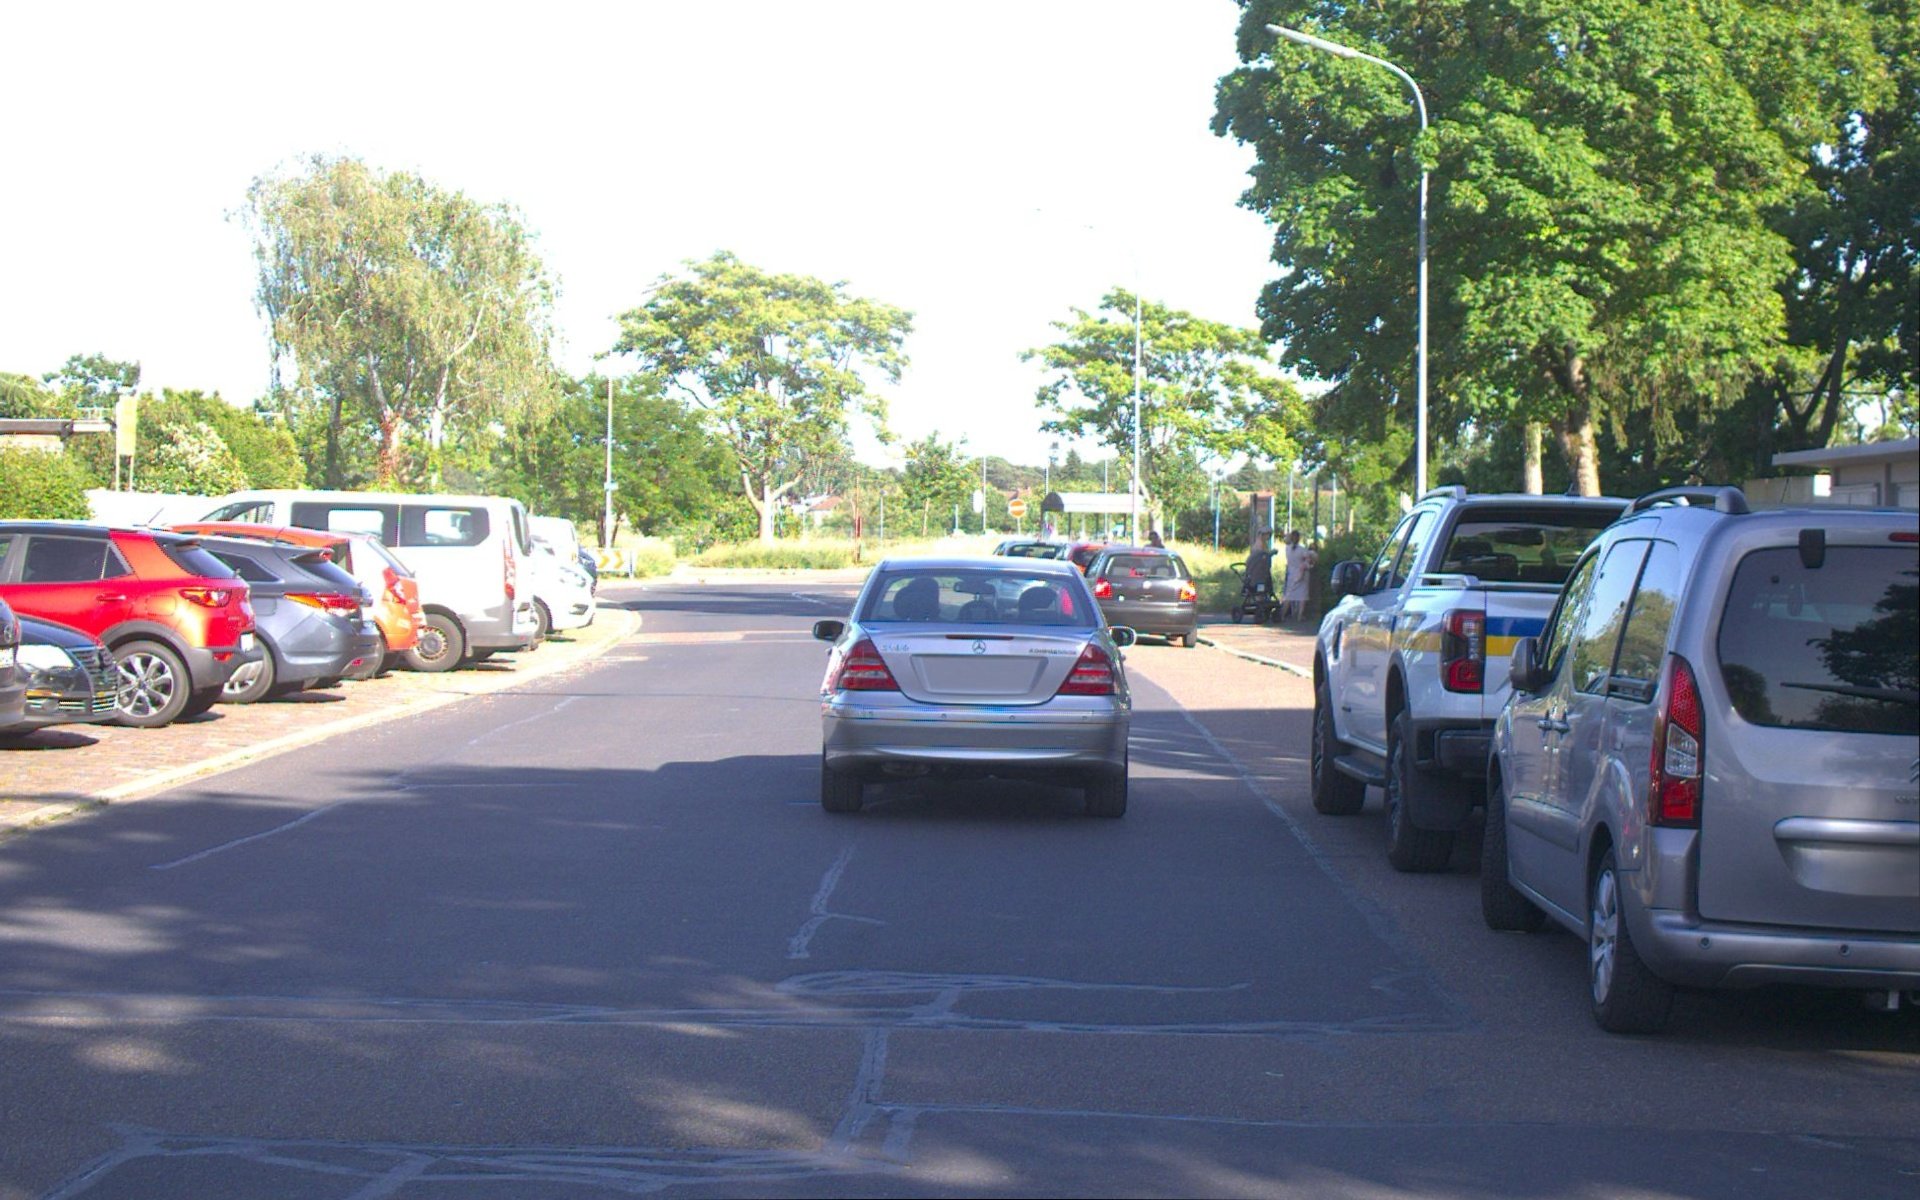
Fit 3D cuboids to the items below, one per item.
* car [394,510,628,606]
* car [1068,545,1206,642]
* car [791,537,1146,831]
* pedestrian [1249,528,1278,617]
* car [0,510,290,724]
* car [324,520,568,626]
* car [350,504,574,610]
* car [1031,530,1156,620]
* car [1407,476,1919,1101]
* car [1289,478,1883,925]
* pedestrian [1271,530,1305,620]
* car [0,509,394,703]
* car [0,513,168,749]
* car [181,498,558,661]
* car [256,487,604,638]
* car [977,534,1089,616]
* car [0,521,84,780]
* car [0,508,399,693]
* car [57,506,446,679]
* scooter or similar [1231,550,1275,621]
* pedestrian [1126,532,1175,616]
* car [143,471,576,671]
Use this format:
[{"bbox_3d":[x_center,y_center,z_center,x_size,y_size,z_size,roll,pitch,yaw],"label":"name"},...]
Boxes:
[{"bbox_3d":[-9.647,-0.898,73.784,4.870,1.909,2.001,1,0,-9],"label":"car"},{"bbox_3d":[2.623,-0.108,51.624,1.647,1.398,3.882,0,0,-3],"label":"car"},{"bbox_3d":[0.091,0.402,20.213,1.816,1.458,4.361,2,1,1],"label":"car"},{"bbox_3d":[5.379,-0.479,60.852,0.481,1.559,0.597,-1,0,6],"label":"pedestrian"},{"bbox_3d":[-7.349,0.058,26.428,3.987,1.474,1.791,3,1,0],"label":"car"},{"bbox_3d":[-7.976,-0.412,53.522,3.513,1.441,1.637,3,0,-2],"label":"car"},{"bbox_3d":[-9.140,-0.799,63.255,3.976,1.774,1.926,2,1,-7],"label":"car"},{"bbox_3d":[2.268,-0.436,59.254,1.575,1.441,3.789,2,0,-6],"label":"car"},{"bbox_3d":[2.892,0.504,12.308,1.833,1.785,4.555,3,2,-1],"label":"car"},{"bbox_3d":[2.955,0.365,17.488,1.906,1.834,5.275,3,2,-1],"label":"car"},{"bbox_3d":[5.705,-0.429,59.771,0.485,1.559,0.469,0,0,-8],"label":"pedestrian"},{"bbox_3d":[-7.441,-0.001,30.308,4.544,1.474,1.748,3,1,0],"label":"car"},{"bbox_3d":[-7.637,0.109,23.364,4.018,1.507,1.906,3,0,-1],"label":"car"},{"bbox_3d":[-7.074,-0.247,41.500,4.151,1.700,1.884,3,0,0],"label":"car"},{"bbox_3d":[-7.735,-0.548,50.551,4.788,1.914,2.082,3,0,-3],"label":"car"},{"bbox_3d":[1.432,-0.511,69.101,1.731,1.537,3.789,2,0,-6],"label":"car"},{"bbox_3d":[-7.622,0.183,20.872,4.092,1.507,1.812,3,0,-1],"label":"car"},{"bbox_3d":[-7.437,-0.021,33.375,3.602,1.562,1.881,3,1,0],"label":"car"},{"bbox_3d":[-7.342,-0.100,35.878,3.602,1.562,1.852,3,1,0],"label":"car"},{"bbox_3d":[5.092,-0.255,59.857,0.622,1.223,0.905,0,0,-4],"label":"scooter or similar"},{"bbox_3d":[3.635,-0.503,65.615,0.787,1.559,0.570,3,0,-4],"label":"pedestrian"},{"bbox_3d":[-6.745,-0.328,38.989,4.478,1.970,2.000,3,0,-1],"label":"car"}]
